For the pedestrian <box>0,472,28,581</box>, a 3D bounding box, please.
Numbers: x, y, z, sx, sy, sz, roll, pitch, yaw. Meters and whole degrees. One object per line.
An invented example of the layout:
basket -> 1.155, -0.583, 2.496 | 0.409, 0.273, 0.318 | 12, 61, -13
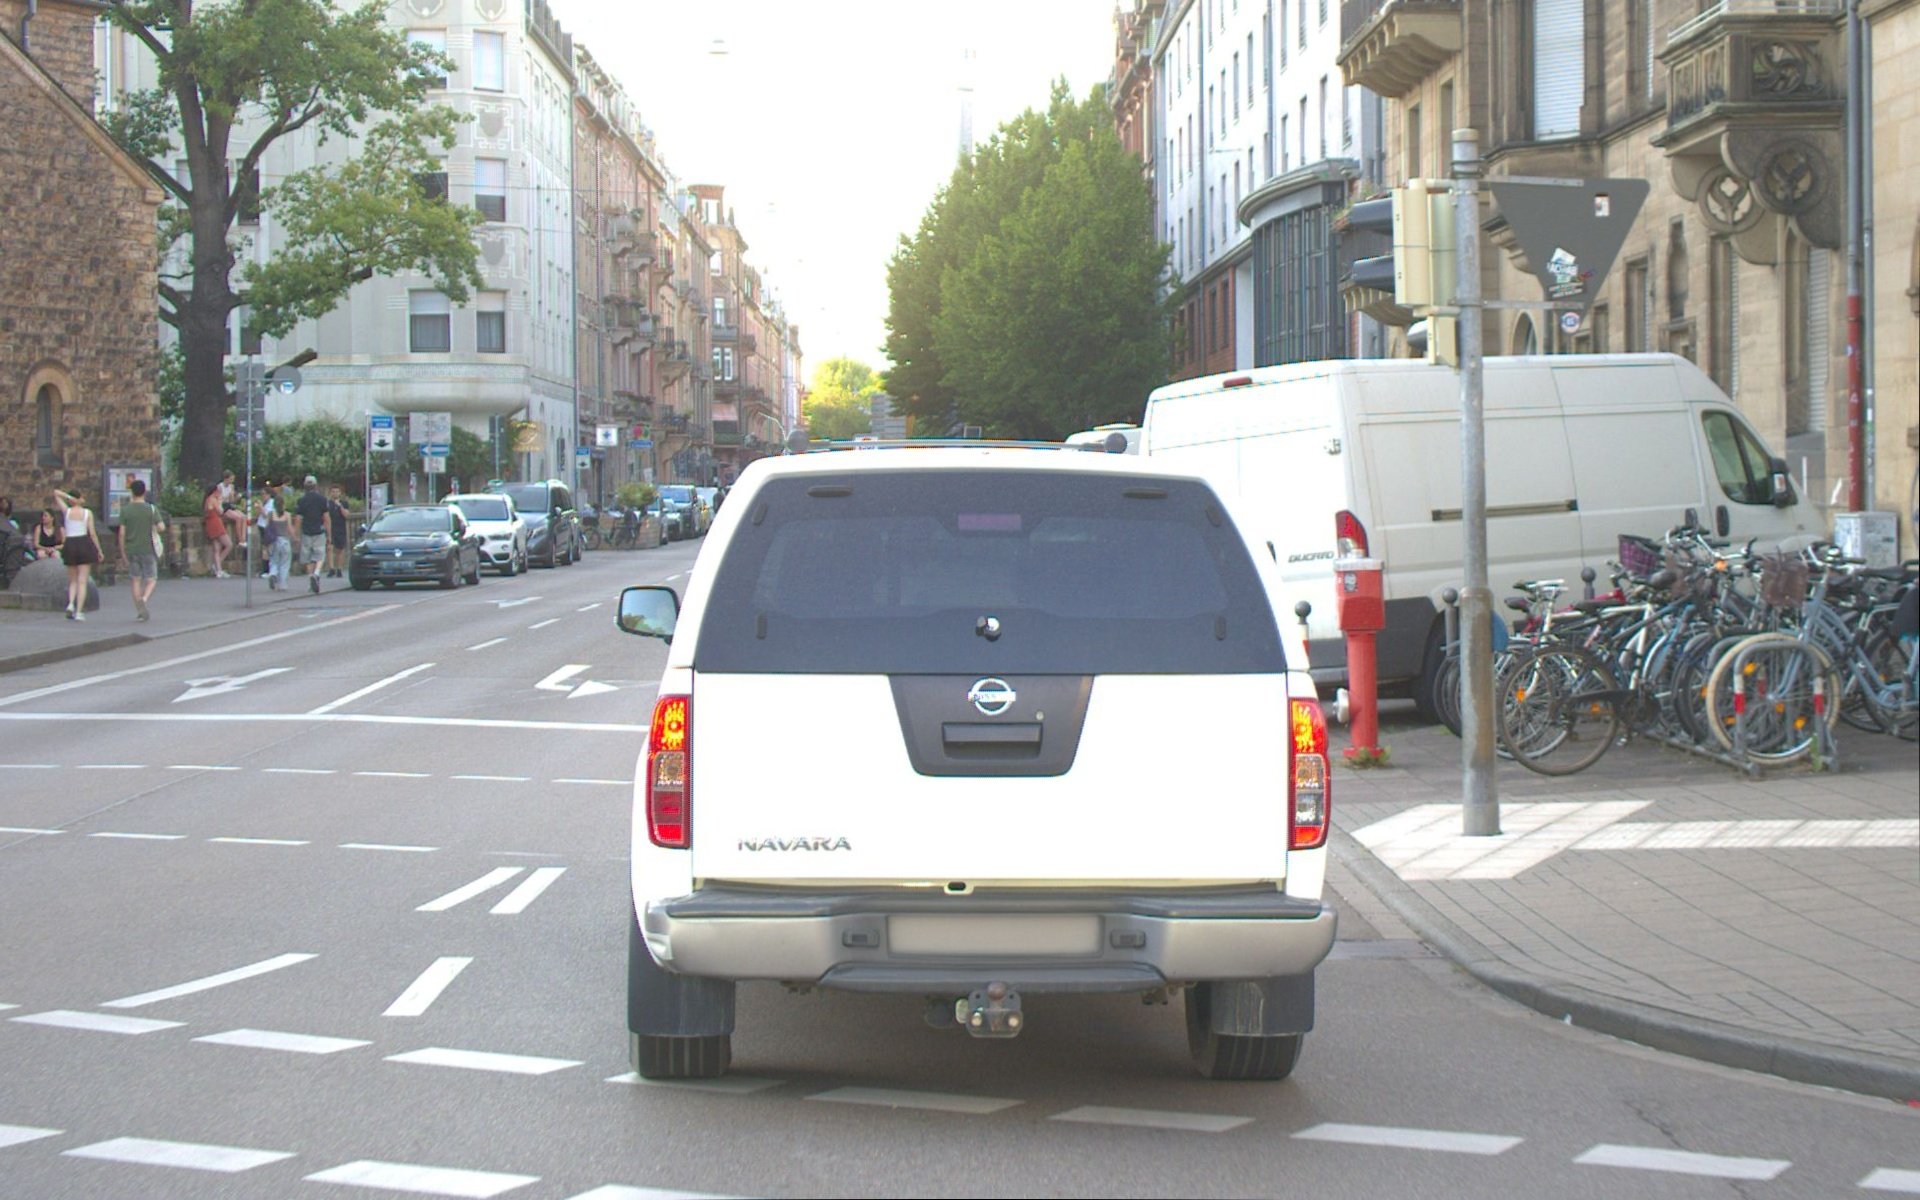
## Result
pedestrian -> -14.959, -1.157, 53.827 | 0.642, 1.689, 0.562 | 0, 1, -8

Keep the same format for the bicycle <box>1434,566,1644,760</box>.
bicycle -> 3.285, 0.354, 19.520 | 1.077, 1.020, 0.317 | -4, 1, -1

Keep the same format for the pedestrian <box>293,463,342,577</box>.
pedestrian -> -10.495, -1.310, 56.178 | 0.642, 1.849, 0.562 | 0, 2, -28

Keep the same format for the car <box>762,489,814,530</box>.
car -> -6.624, -3.489, 132.673 | 1.858, 1.524, 4.000 | 0, 2, 0

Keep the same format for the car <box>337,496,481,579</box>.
car -> -9.540, -1.109, 59.781 | 1.858, 1.393, 4.000 | 0, 2, 0

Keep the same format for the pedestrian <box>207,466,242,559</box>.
pedestrian -> -13.460, -1.605, 62.934 | 0.560, 1.689, 0.645 | 0, 1, -7

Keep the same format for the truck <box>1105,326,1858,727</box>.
truck -> 3.859, -0.556, 24.696 | 5.658, 2.556, 2.287 | -2, 2, -42

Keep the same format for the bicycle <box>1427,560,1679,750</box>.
bicycle -> 3.484, 0.320, 20.227 | 1.371, 1.020, 0.317 | -4, 1, -1

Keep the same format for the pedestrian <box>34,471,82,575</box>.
pedestrian -> -14.720, -1.260, 56.122 | 0.643, 1.689, 0.562 | 0, 1, 0

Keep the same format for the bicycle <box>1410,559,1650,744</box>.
bicycle -> 3.440, 0.306, 20.775 | 1.333, 1.020, 0.317 | -4, 1, -1

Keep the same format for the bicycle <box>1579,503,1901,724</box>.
bicycle -> 4.782, 0.076, 21.117 | 1.817, 1.233, 0.410 | -4, 1, -1

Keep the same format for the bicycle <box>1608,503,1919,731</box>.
bicycle -> 4.849, 0.093, 20.511 | 1.817, 1.233, 0.412 | -4, 1, -1

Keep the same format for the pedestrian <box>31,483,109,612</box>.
pedestrian -> -11.625, -0.687, 44.925 | 0.812, 1.664, 0.860 | 0, 1, -1

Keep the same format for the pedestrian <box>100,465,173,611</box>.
pedestrian -> -10.772, -0.817, 44.991 | 0.812, 1.894, 0.666 | 0, 1, -1

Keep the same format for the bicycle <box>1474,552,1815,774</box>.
bicycle -> 3.702, 0.337, 18.627 | 1.726, 1.079, 0.317 | -4, 1, -1

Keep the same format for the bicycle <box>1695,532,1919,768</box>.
bicycle -> 4.890, 0.233, 18.135 | 1.817, 1.146, 0.636 | -4, 2, -1

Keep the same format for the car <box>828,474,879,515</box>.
car -> -4.100, -4.060, 132.601 | 1.858, 1.524, 4.000 | 0, 2, 0

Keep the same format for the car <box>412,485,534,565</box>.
car -> -9.595, -1.488, 67.971 | 1.858, 1.524, 4.000 | 0, 2, 0

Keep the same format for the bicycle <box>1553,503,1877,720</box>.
bicycle -> 4.743, 0.063, 21.649 | 1.855, 1.233, 0.531 | -4, 2, -1

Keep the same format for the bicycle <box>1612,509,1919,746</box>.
bicycle -> 4.742, 0.147, 19.788 | 1.817, 1.233, 0.478 | -4, 2, -1

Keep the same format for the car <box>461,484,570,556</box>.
car -> -9.616, -1.743, 74.550 | 1.858, 1.524, 4.000 | 0, 2, 0

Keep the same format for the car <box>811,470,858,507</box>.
car -> -5.225, -4.631, 142.922 | 1.920, 1.524, 4.001 | 0, 2, -2

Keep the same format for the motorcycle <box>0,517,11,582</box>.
motorcycle -> -15.531, -0.775, 52.337 | 2.167, 0.984, 0.593 | 1, 2, 21

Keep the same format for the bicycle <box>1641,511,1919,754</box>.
bicycle -> 4.774, 0.162, 19.076 | 1.817, 1.233, 0.488 | -4, 2, -1

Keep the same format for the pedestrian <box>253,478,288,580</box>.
pedestrian -> -12.562, -1.302, 62.639 | 0.560, 1.849, 0.645 | 0, 1, -7

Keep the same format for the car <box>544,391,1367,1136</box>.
car -> 0.003, 0.345, 10.408 | 1.993, 1.803, 4.000 | 1, 2, 1

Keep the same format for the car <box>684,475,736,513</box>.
car -> -10.220, -4.330, 140.656 | 1.858, 1.524, 4.000 | 0, 2, 0

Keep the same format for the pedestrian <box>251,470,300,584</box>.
pedestrian -> -11.133, -1.189, 55.886 | 0.642, 1.849, 0.562 | 0, 2, -28

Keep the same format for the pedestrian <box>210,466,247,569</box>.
pedestrian -> -13.217, -1.497, 62.093 | 0.642, 1.849, 0.562 | 0, 1, -14
